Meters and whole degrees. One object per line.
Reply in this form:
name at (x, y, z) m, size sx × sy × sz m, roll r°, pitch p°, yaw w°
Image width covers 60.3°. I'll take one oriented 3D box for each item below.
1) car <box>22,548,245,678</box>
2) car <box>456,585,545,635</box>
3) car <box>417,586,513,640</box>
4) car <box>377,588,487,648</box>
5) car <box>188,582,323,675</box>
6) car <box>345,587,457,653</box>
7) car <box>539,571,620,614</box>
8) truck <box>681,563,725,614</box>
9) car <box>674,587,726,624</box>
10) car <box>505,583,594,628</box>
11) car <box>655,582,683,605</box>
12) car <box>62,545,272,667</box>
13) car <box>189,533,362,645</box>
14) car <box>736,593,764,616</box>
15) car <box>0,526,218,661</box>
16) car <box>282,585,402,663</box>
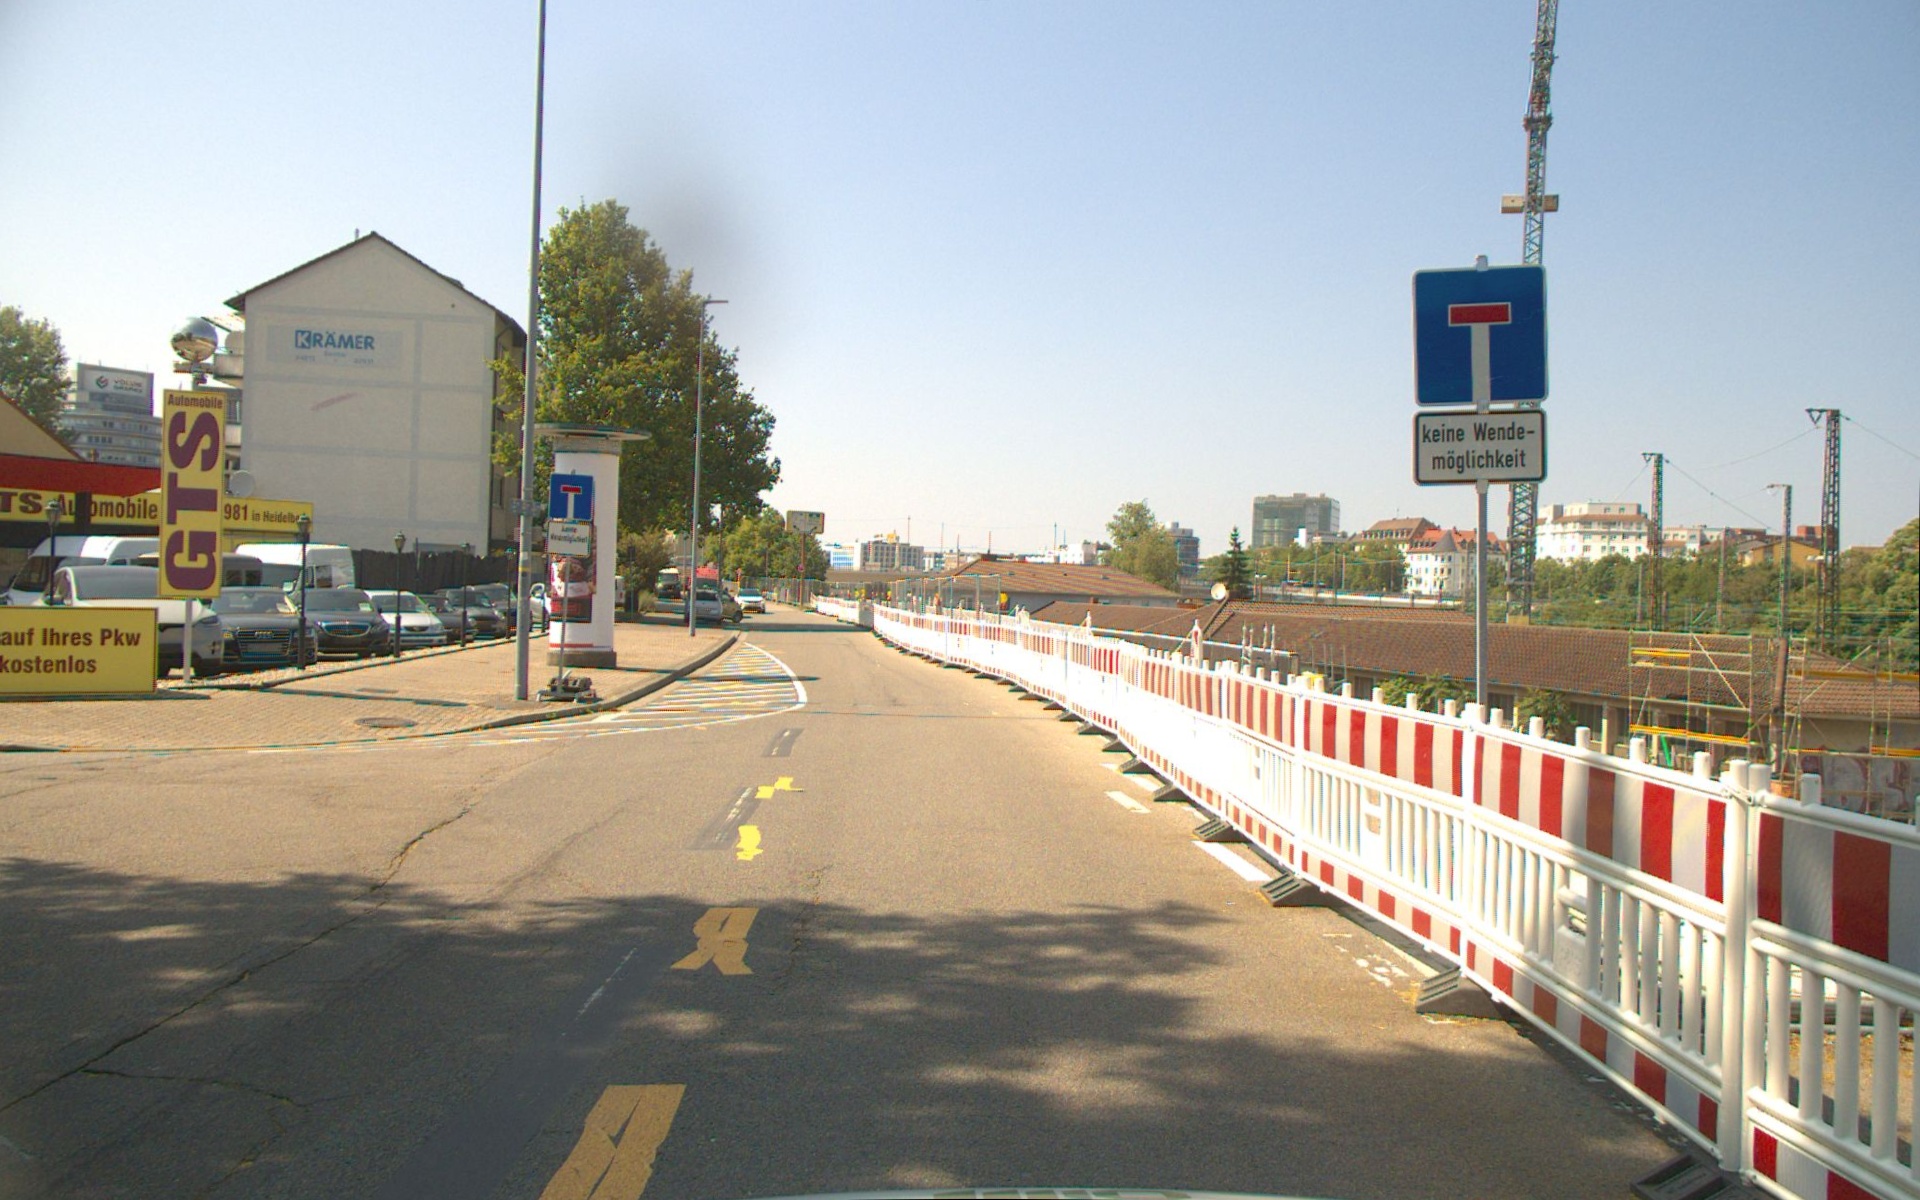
car at (-12.337, 0.247, 24.528) m, size 1.963 × 1.737 × 4.596 m, roll 0°, pitch -2°, yaw -40°
car at (-14.903, 0.304, 53.508) m, size 1.652 × 1.498 × 3.953 m, roll -1°, pitch 1°, yaw -33°
car at (-14.677, 0.355, 48.924) m, size 1.652 × 1.498 × 3.953 m, roll -1°, pitch 1°, yaw -33°
car at (-14.215, 0.446, 44.416) m, size 1.654 × 1.498 × 3.949 m, roll -1°, pitch 1°, yaw -36°
car at (-12.551, 0.465, 29.351) m, size 1.816 × 1.498 × 3.962 m, roll -1°, pitch 1°, yaw -29°
car at (-13.627, 0.464, 40.220) m, size 1.762 × 1.498 × 3.958 m, roll -2°, pitch 1°, yaw -31°
car at (-19.290, -0.380, 83.964) m, size 3.856 × 1.993 × 1.753 m, roll 3°, pitch 0°, yaw -13°
truck at (-14.273, -0.579, 92.187) m, size 2.196 × 2.694 × 5.672 m, roll 1°, pitch -1°, yaw -7°
car at (-11.436, 0.222, 72.965) m, size 1.832 × 1.524 × 4.030 m, roll 1°, pitch 1°, yaw -3°
car at (-14.206, 0.171, 57.102) m, size 1.760 × 1.498 × 3.954 m, roll -1°, pitch 1°, yaw -33°
car at (-26.139, -0.549, 148.537) m, size 1.899 × 1.866 × 3.921 m, roll 5°, pitch -1°, yaw -4°
car at (-16.801, 0.162, 35.362) m, size 2.200 × 2.391 × 4.822 m, roll 1°, pitch -1°, yaw -1°
car at (-17.109, -0.212, 41.709) m, size 2.202 × 2.472 × 5.712 m, roll 5°, pitch -1°, yaw -5°
car at (-13.380, 0.292, 105.251) m, size 1.684 × 1.440 × 4.071 m, roll 1°, pitch -1°, yaw -7°
car at (-19.546, -0.101, 37.792) m, size 2.229 × 2.806 × 6.153 m, roll 1°, pitch -1°, yaw 1°
car at (-13.050, 0.460, 34.798) m, size 1.816 × 1.498 × 3.962 m, roll -1°, pitch 1°, yaw -28°
